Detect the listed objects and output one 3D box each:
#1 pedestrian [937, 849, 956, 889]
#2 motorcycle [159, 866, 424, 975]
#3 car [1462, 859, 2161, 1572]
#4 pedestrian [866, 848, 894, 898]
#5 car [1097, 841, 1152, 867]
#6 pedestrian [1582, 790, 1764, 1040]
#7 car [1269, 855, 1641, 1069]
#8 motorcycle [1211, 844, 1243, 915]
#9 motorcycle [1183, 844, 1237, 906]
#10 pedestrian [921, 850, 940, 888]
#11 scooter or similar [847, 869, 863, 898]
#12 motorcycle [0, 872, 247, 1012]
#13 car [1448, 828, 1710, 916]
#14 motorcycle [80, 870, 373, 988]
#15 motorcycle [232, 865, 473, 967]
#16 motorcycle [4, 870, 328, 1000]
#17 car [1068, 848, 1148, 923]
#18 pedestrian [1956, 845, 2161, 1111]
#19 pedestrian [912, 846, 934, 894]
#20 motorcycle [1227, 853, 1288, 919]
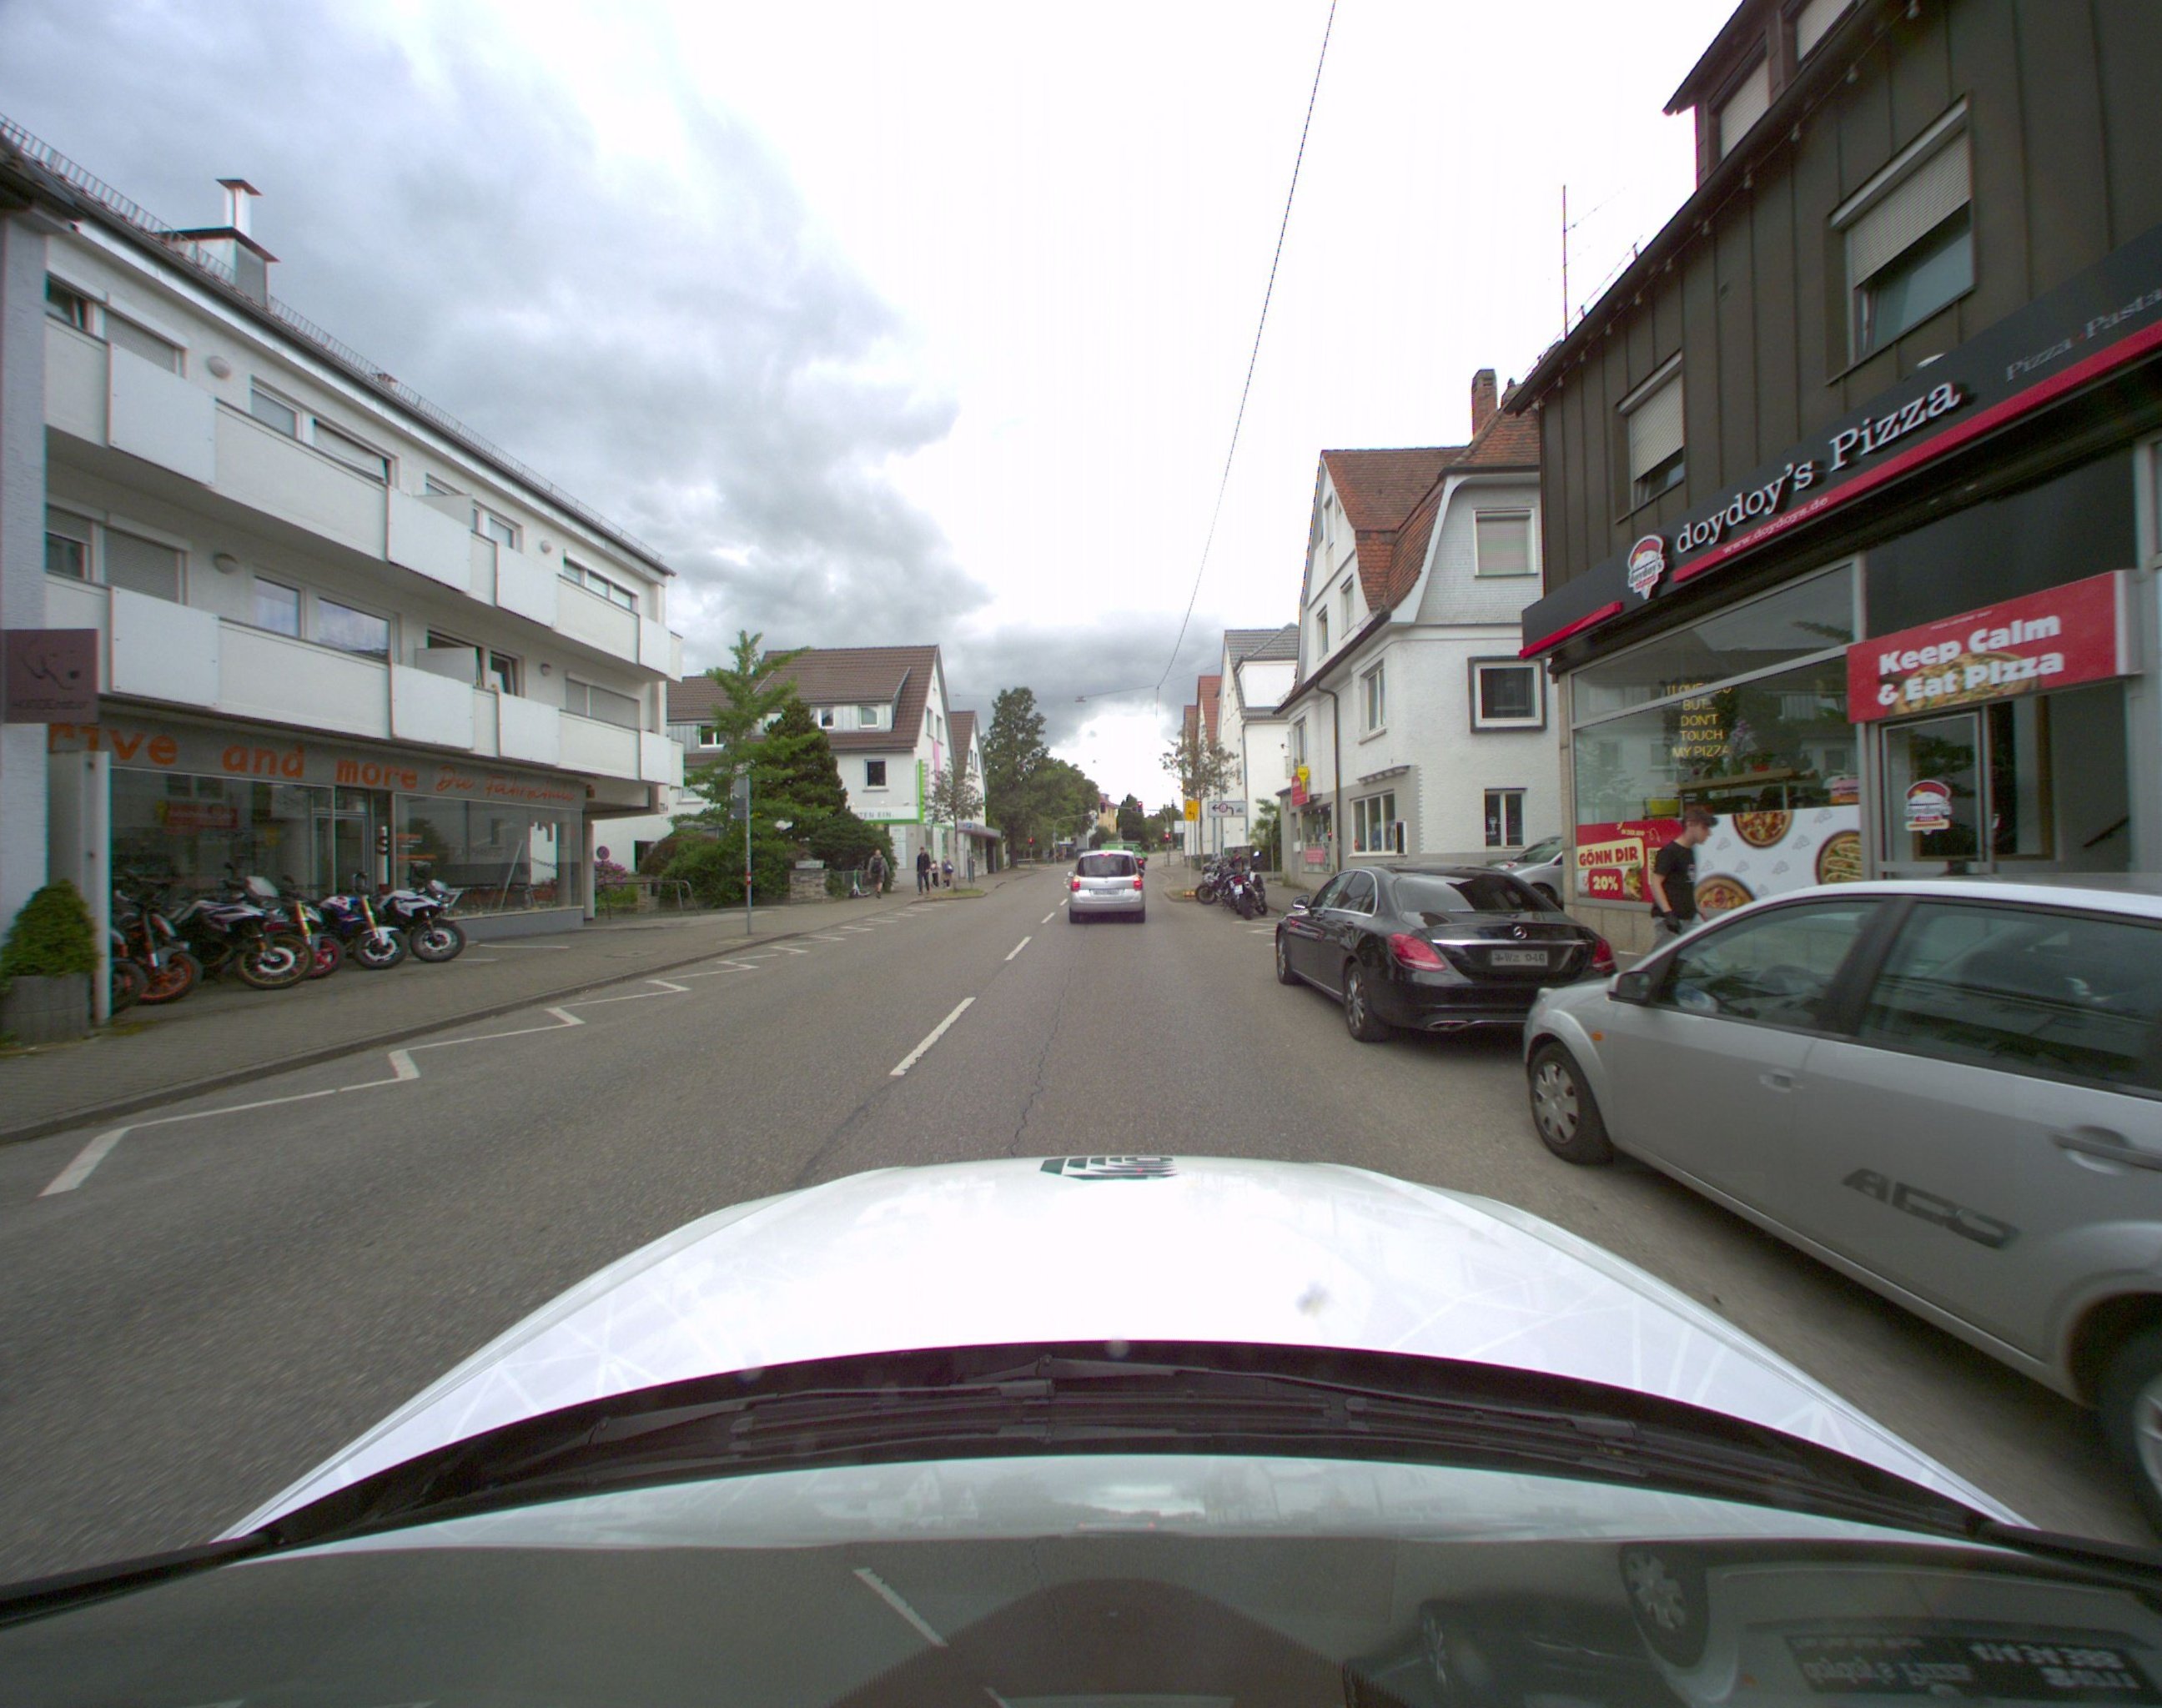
[{"bbox_3d":[-6.329,0.691,38.276,0.759,1.876,0.696,0,-1,2],"label":"pedestrian"},{"bbox_3d":[-10.747,0.875,11.178,2.705,1.409,0.698,0,-1,-8],"label":"motorcycle"},{"bbox_3d":[3.069,0.739,2.909,1.694,1.430,3.892,0,0,2],"label":"car"},{"bbox_3d":[-7.271,0.677,29.485,0.760,1.791,0.890,0,-1,2],"label":"pedestrian"},{"bbox_3d":[4.857,0.001,91.045,5.972,2.907,2.231,0,-1,-34],"label":"car"},{"bbox_3d":[4.839,0.473,6.732,0.853,1.928,0.900,0,-1,2],"label":"pedestrian"},{"bbox_3d":[3.056,0.758,7.725,1.694,1.467,4.240,0,0,2],"label":"car"},{"bbox_3d":[3.629,0.603,20.080,0.693,1.639,2.417,0,0,12],"label":"motorcycle"},{"bbox_3d":[3.554,0.569,22.731,0.698,1.639,2.400,0,0,-11],"label":"motorcycle"},{"bbox_3d":[-7.113,0.717,38.512,0.713,1.756,0.696,0,-1,2],"label":"pedestrian"},{"bbox_3d":[-8.155,1.061,29.341,0.372,1.034,0.560,-2,0,2],"label":"scooter or similar"},{"bbox_3d":[-10.755,0.906,8.690,2.705,1.409,0.698,0,-1,-8],"label":"motorcycle"},{"bbox_3d":[9.342,0.327,15.530,3.964,1.566,1.689,0,0,2],"label":"car"},{"bbox_3d":[-10.789,0.916,10.377,2.705,1.409,0.698,0,-1,-8],"label":"motorcycle"},{"bbox_3d":[-10.658,0.879,12.003,2.705,1.409,0.698,0,-1,-8],"label":"motorcycle"},{"bbox_3d":[-10.654,0.911,9.577,2.705,1.409,0.698,0,-1,-8],"label":"motorcycle"},{"bbox_3d":[0.657,0.670,19.034,1.675,1.566,3.996,0,0,3],"label":"car"},{"bbox_3d":[5.934,0.633,4.582,0.884,1.300,0.967,-5,-1,2],"label":"pedestrian"},{"bbox_3d":[-6.200,0.616,32.033,0.713,1.876,0.696,0,-1,2],"label":"pedestrian"},{"bbox_3d":[4.067,0.684,18.597,0.691,1.409,2.732,-1,0,26],"label":"motorcycle"}]
